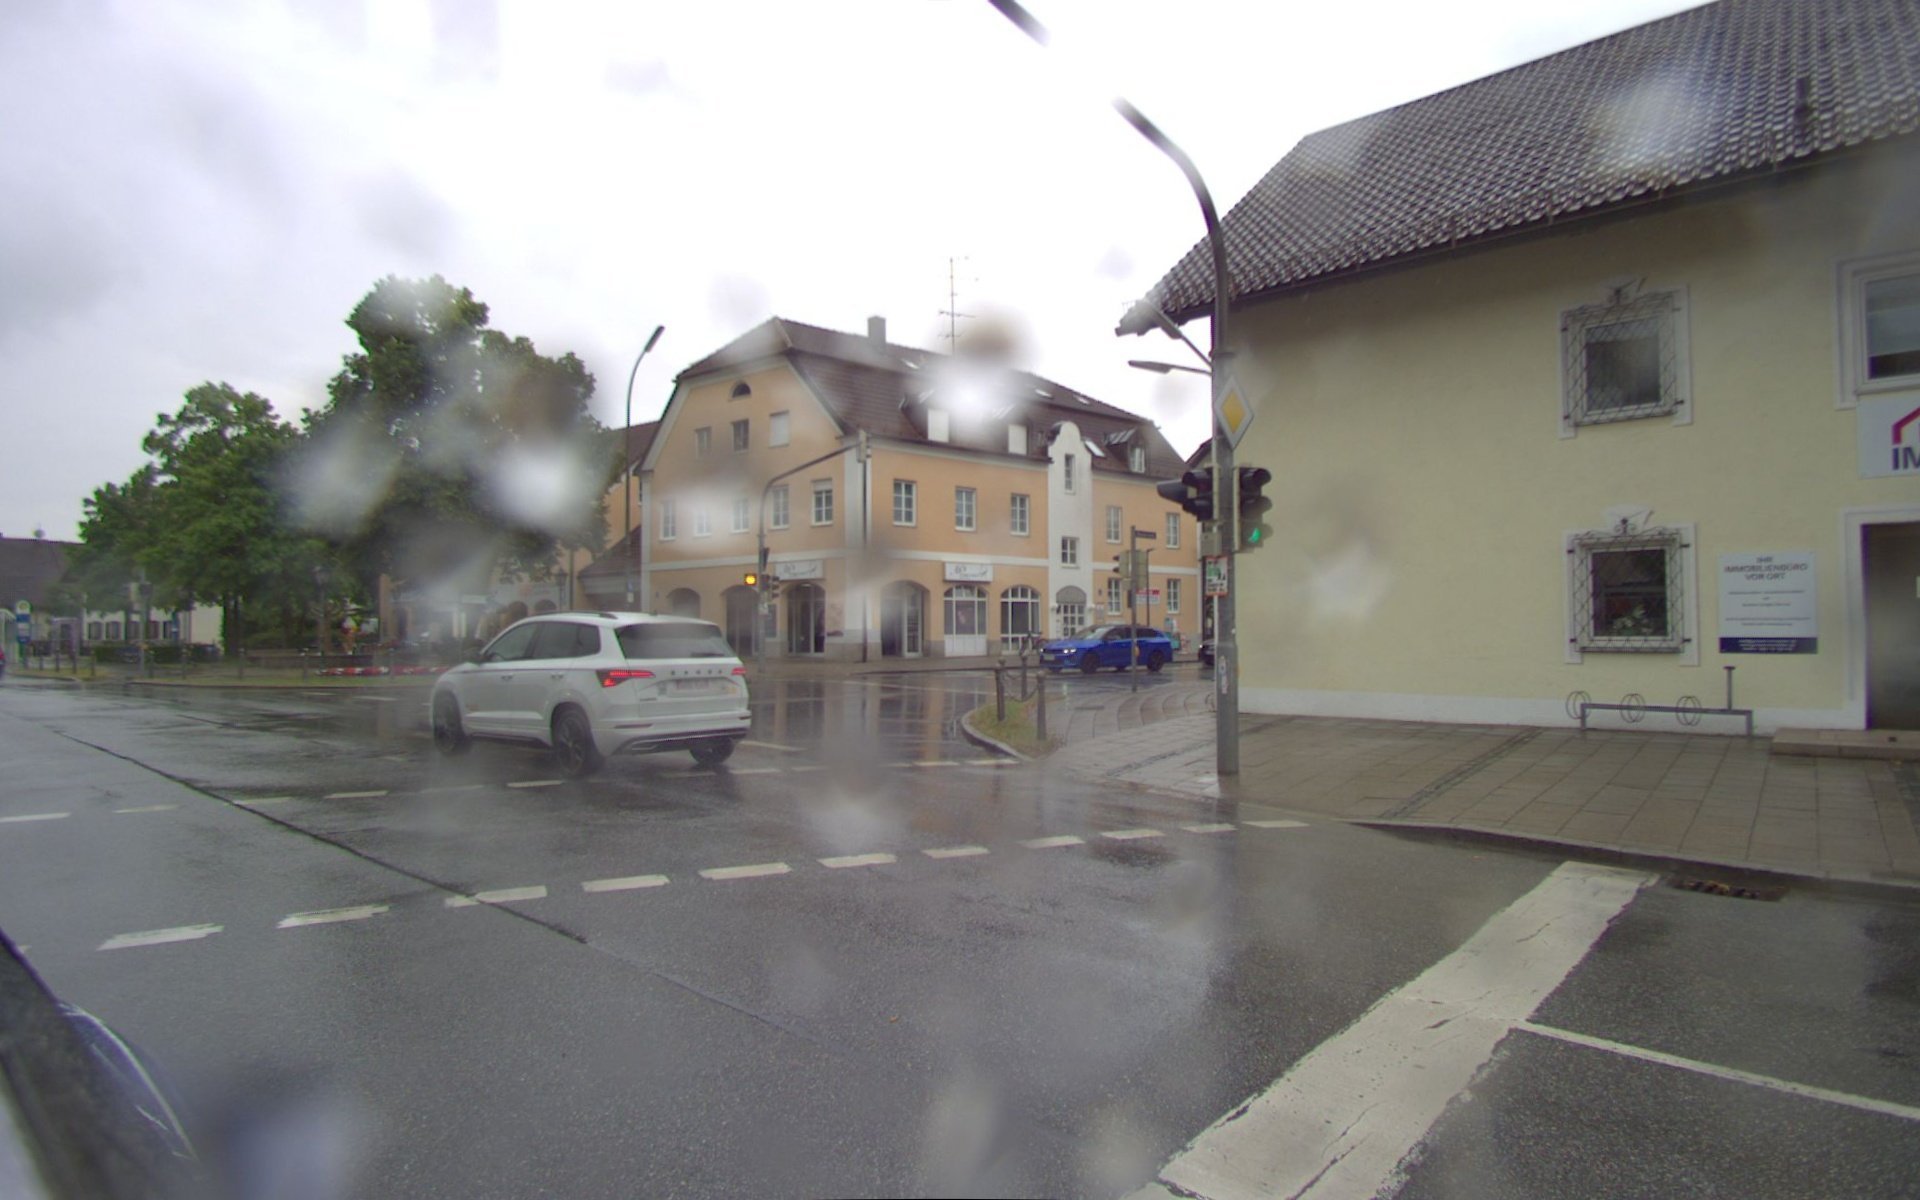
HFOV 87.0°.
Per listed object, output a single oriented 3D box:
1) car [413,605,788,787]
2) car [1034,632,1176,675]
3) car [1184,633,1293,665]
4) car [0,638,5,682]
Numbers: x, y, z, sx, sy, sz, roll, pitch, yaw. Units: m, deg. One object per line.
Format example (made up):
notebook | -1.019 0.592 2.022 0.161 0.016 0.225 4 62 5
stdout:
car | -3.961 0.894 10.867 4.148 1.575 1.947 -1 -3 40
car | 4.444 1.571 30.755 4.288 1.194 1.693 1 -2 -35
car | 9.645 1.653 34.949 4.006 1.025 1.427 1 -2 -35
car | -35.803 2.133 36.128 3.893 1.545 1.897 -1 -3 38
